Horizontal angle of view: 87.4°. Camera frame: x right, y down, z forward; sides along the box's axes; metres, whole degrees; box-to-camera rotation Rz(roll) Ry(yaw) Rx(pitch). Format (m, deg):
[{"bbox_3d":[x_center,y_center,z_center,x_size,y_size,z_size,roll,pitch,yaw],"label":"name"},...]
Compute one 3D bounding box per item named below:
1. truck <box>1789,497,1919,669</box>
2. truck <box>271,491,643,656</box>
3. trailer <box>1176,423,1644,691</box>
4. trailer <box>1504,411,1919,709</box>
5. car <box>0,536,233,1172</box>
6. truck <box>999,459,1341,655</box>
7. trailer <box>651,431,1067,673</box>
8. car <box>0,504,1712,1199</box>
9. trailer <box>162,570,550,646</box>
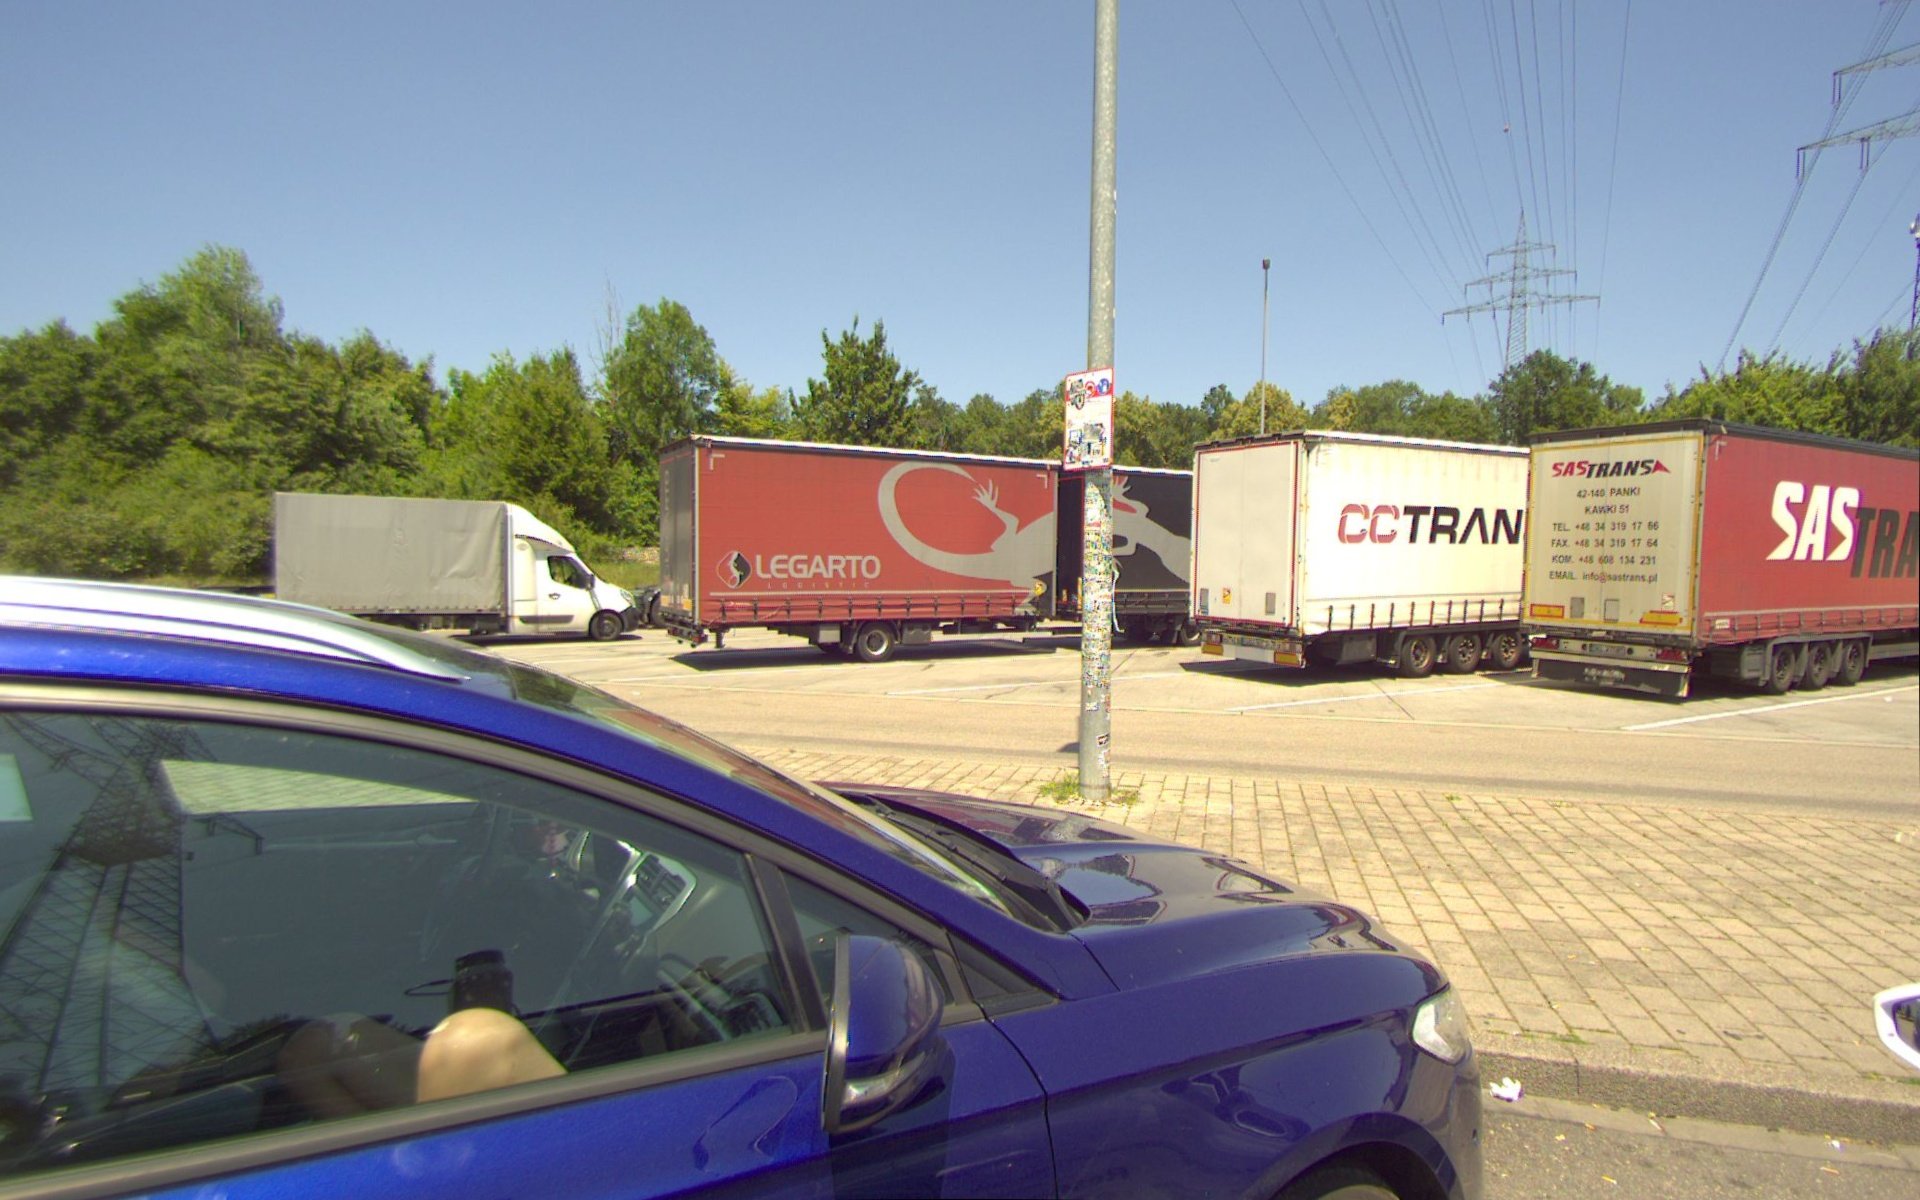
[{"bbox_3d":[21.270,-0.402,22.053,5.903,3.409,2.798,-1,3,-30],"label":"truck"},{"bbox_3d":[-11.227,-0.621,22.998,7.187,3.289,2.694,-1,3,-29],"label":"truck"},{"bbox_3d":[8.984,-0.768,19.349,10.264,4.158,2.693,-1,3,-30],"label":"trailer"},{"bbox_3d":[15.478,-0.675,18.616,13.599,4.127,2.807,-1,3,-31],"label":"trailer"},{"bbox_3d":[-4.401,0.585,2.093,4.522,1.526,1.743,0,2,-32],"label":"car"},{"bbox_3d":[5.283,-0.998,24.543,8.586,4.127,2.693,-1,3,-30],"label":"truck"},{"bbox_3d":[-1.870,-0.901,20.335,8.007,4.127,2.693,-1,3,-30],"label":"trailer"},{"bbox_3d":[-0.959,0.658,1.456,4.522,1.491,1.743,0,2,-32],"label":"car"},{"bbox_3d":[-14.739,0.106,25.237,8.007,1.648,2.199,-1,3,-30],"label":"trailer"}]
